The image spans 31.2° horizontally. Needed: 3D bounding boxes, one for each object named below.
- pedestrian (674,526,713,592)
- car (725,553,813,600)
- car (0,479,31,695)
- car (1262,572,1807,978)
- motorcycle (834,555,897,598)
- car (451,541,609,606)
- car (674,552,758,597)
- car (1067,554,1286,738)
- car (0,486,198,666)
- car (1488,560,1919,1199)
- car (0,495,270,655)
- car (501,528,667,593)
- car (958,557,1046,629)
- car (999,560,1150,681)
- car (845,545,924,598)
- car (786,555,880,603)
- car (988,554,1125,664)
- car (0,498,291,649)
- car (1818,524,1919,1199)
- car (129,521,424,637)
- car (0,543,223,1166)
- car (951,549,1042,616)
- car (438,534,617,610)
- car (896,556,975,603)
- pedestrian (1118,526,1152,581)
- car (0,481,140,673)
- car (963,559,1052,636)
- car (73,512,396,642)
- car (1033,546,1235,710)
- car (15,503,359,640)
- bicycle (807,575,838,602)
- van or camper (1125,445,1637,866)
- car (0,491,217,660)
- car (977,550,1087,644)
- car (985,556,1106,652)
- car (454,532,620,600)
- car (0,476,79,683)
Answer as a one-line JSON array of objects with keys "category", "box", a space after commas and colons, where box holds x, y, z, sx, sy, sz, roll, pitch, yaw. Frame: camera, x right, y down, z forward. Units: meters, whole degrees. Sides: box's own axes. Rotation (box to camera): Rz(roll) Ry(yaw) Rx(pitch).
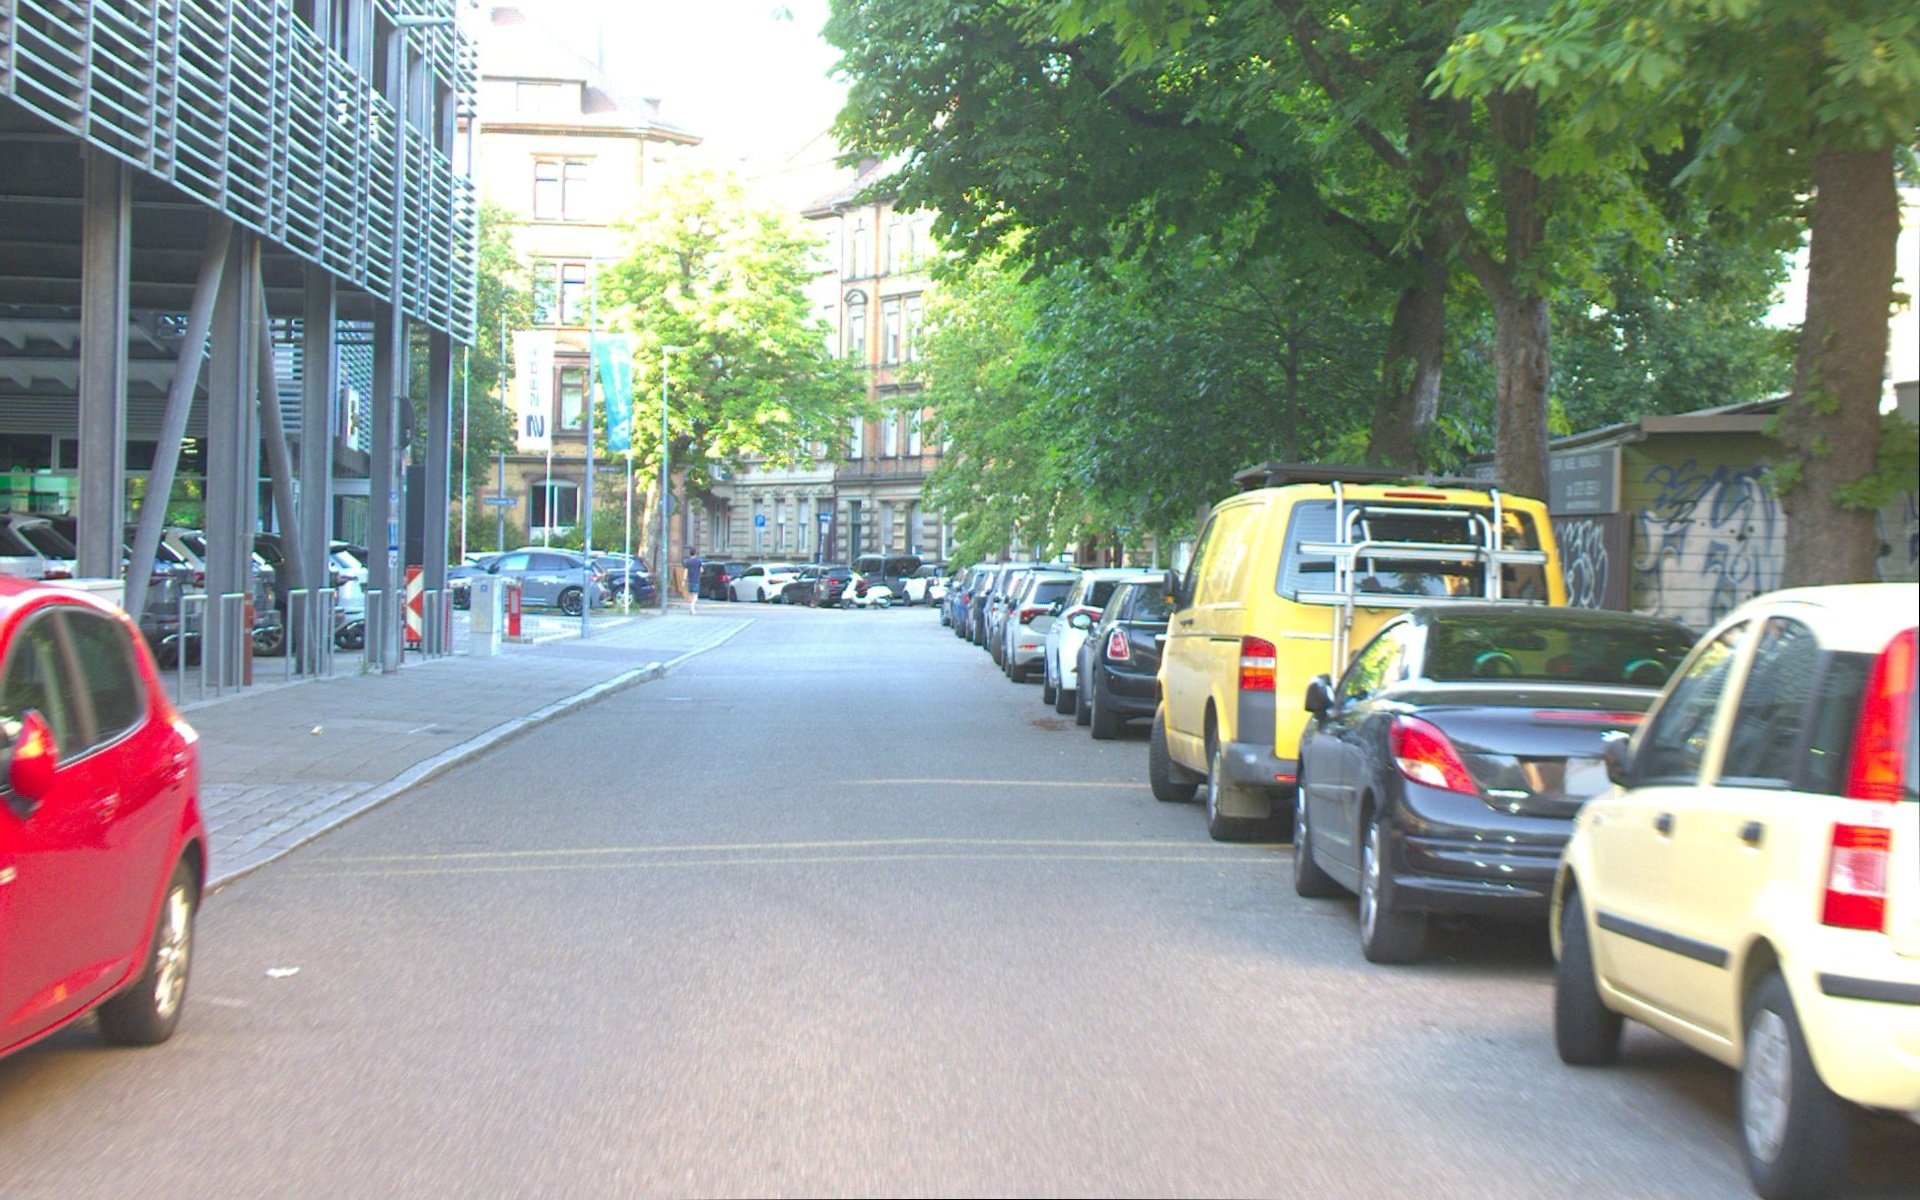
[{"category": "pedestrian", "box": [-7.348, -1.140, 94.816, 0.735, 1.798, 1.122, 1, 2, -22]}, {"category": "car", "box": [-6.611, -0.823, 118.851, 1.654, 1.426, 4.168, 1, 2, -24]}, {"category": "car", "box": [-9.522, -0.139, 26.590, 4.149, 1.678, 1.860, 1, 2, 0]}, {"category": "car", "box": [2.278, 0.626, 14.588, 1.606, 1.377, 4.000, 1, 2, 0]}, {"category": "motorcycle", "box": [-3.059, -0.762, 111.022, 1.931, 1.336, 0.577, 1, 1, -11]}, {"category": "car", "box": [-11.401, -0.721, 91.323, 4.044, 1.470, 1.921, 3, 2, -5]}, {"category": "car", "box": [-8.744, -0.909, 123.099, 1.654, 1.426, 3.897, 1, 2, -25]}, {"category": "car", "box": [1.851, 0.359, 30.227, 1.563, 1.445, 3.454, 1, 2, -2]}, {"category": "car", "box": [-9.705, -0.277, 33.549, 4.103, 1.678, 1.860, 1, 2, 0]}, {"category": "car", "box": [2.600, 0.672, 9.526, 1.609, 1.505, 3.478, 1, 1, -2]}, {"category": "car", "box": [-9.957, -0.309, 38.420, 4.103, 1.678, 1.860, 1, 2, 0]}, {"category": "car", "box": [-11.261, -1.189, 102.799, 4.828, 1.726, 1.921, 2, 2, -7]}, {"category": "car", "box": [0.869, -0.174, 73.564, 1.695, 1.472, 4.117, 1, 1, -2]}, {"category": "car", "box": [1.486, 0.237, 45.960, 1.759, 1.437, 4.006, 1, 2, -2]}, {"category": "car", "box": [-2.724, -1.017, 122.860, 1.674, 1.776, 3.015, 1, 1, -26]}, {"category": "car", "box": [-4.253, -0.710, 114.368, 1.654, 1.426, 3.991, 1, 2, -25]}, {"category": "car", "box": [1.379, 0.103, 50.895, 1.759, 1.449, 4.393, 1, 2, -2]}, {"category": "car", "box": [-10.114, -0.340, 40.563, 4.064, 1.678, 1.860, 1, 2, 0]}, {"category": "car", "box": [2.619, 0.693, 4.534, 1.791, 1.557, 4.194, 1, 1, -2]}, {"category": "car", "box": [-9.957, -0.288, 50.335, 3.986, 1.580, 1.860, 1, -1, -3]}, {"category": "car", "box": [-3.179, 0.597, 9.175, 1.697, 1.501, 3.791, 1, 0, -2]}, {"category": "car", "box": [0.808, -0.417, 78.375, 1.695, 1.472, 3.560, 1, 1, -5]}, {"category": "car", "box": [-10.516, -0.694, 83.863, 4.129, 1.612, 1.913, 3, 1, -3]}, {"category": "car", "box": [-0.865, -0.722, 119.394, 1.674, 1.520, 2.768, 1, 1, -26]}, {"category": "pedestrian", "box": [5.792, -1.530, 114.008, 0.840, 1.798, 0.776, 1, 2, -22]}, {"category": "car", "box": [-9.746, -0.264, 31.315, 4.083, 1.678, 1.860, 1, 2, 0]}, {"category": "car", "box": [0.931, -0.067, 69.194, 1.596, 1.472, 3.774, 1, 1, -2]}, {"category": "car", "box": [-10.055, -0.337, 47.837, 4.079, 1.678, 1.860, 1, 2, 0]}, {"category": "car", "box": [1.736, 0.238, 35.552, 1.722, 1.514, 4.026, 1, 2, -2]}, {"category": "car", "box": [-10.130, -0.390, 45.246, 4.087, 1.678, 1.860, 1, 2, 0]}, {"category": "bicycle", "box": [-4.364, -0.377, 108.891, 0.425, 0.819, 1.460, 2, 2, 20]}, {"category": "van or camper", "box": [2.253, 0.211, 19.910, 2.064, 2.088, 5.091, 1, 2, -3]}, {"category": "car", "box": [-10.030, -0.299, 35.924, 4.103, 1.678, 1.860, 1, 2, 0]}, {"category": "car", "box": [1.260, -0.072, 61.593, 1.759, 1.598, 3.874, 1, 1, -2]}, {"category": "car", "box": [1.380, 0.033, 56.834, 1.759, 1.436, 3.874, 1, 2, -2]}, {"category": "car", "box": [-10.719, -0.869, 87.329, 4.066, 1.612, 1.765, 1, 2, -3]}, {"category": "car", "box": [-9.636, -0.234, 28.785, 4.025, 1.678, 1.860, 1, 2, 0]}]
